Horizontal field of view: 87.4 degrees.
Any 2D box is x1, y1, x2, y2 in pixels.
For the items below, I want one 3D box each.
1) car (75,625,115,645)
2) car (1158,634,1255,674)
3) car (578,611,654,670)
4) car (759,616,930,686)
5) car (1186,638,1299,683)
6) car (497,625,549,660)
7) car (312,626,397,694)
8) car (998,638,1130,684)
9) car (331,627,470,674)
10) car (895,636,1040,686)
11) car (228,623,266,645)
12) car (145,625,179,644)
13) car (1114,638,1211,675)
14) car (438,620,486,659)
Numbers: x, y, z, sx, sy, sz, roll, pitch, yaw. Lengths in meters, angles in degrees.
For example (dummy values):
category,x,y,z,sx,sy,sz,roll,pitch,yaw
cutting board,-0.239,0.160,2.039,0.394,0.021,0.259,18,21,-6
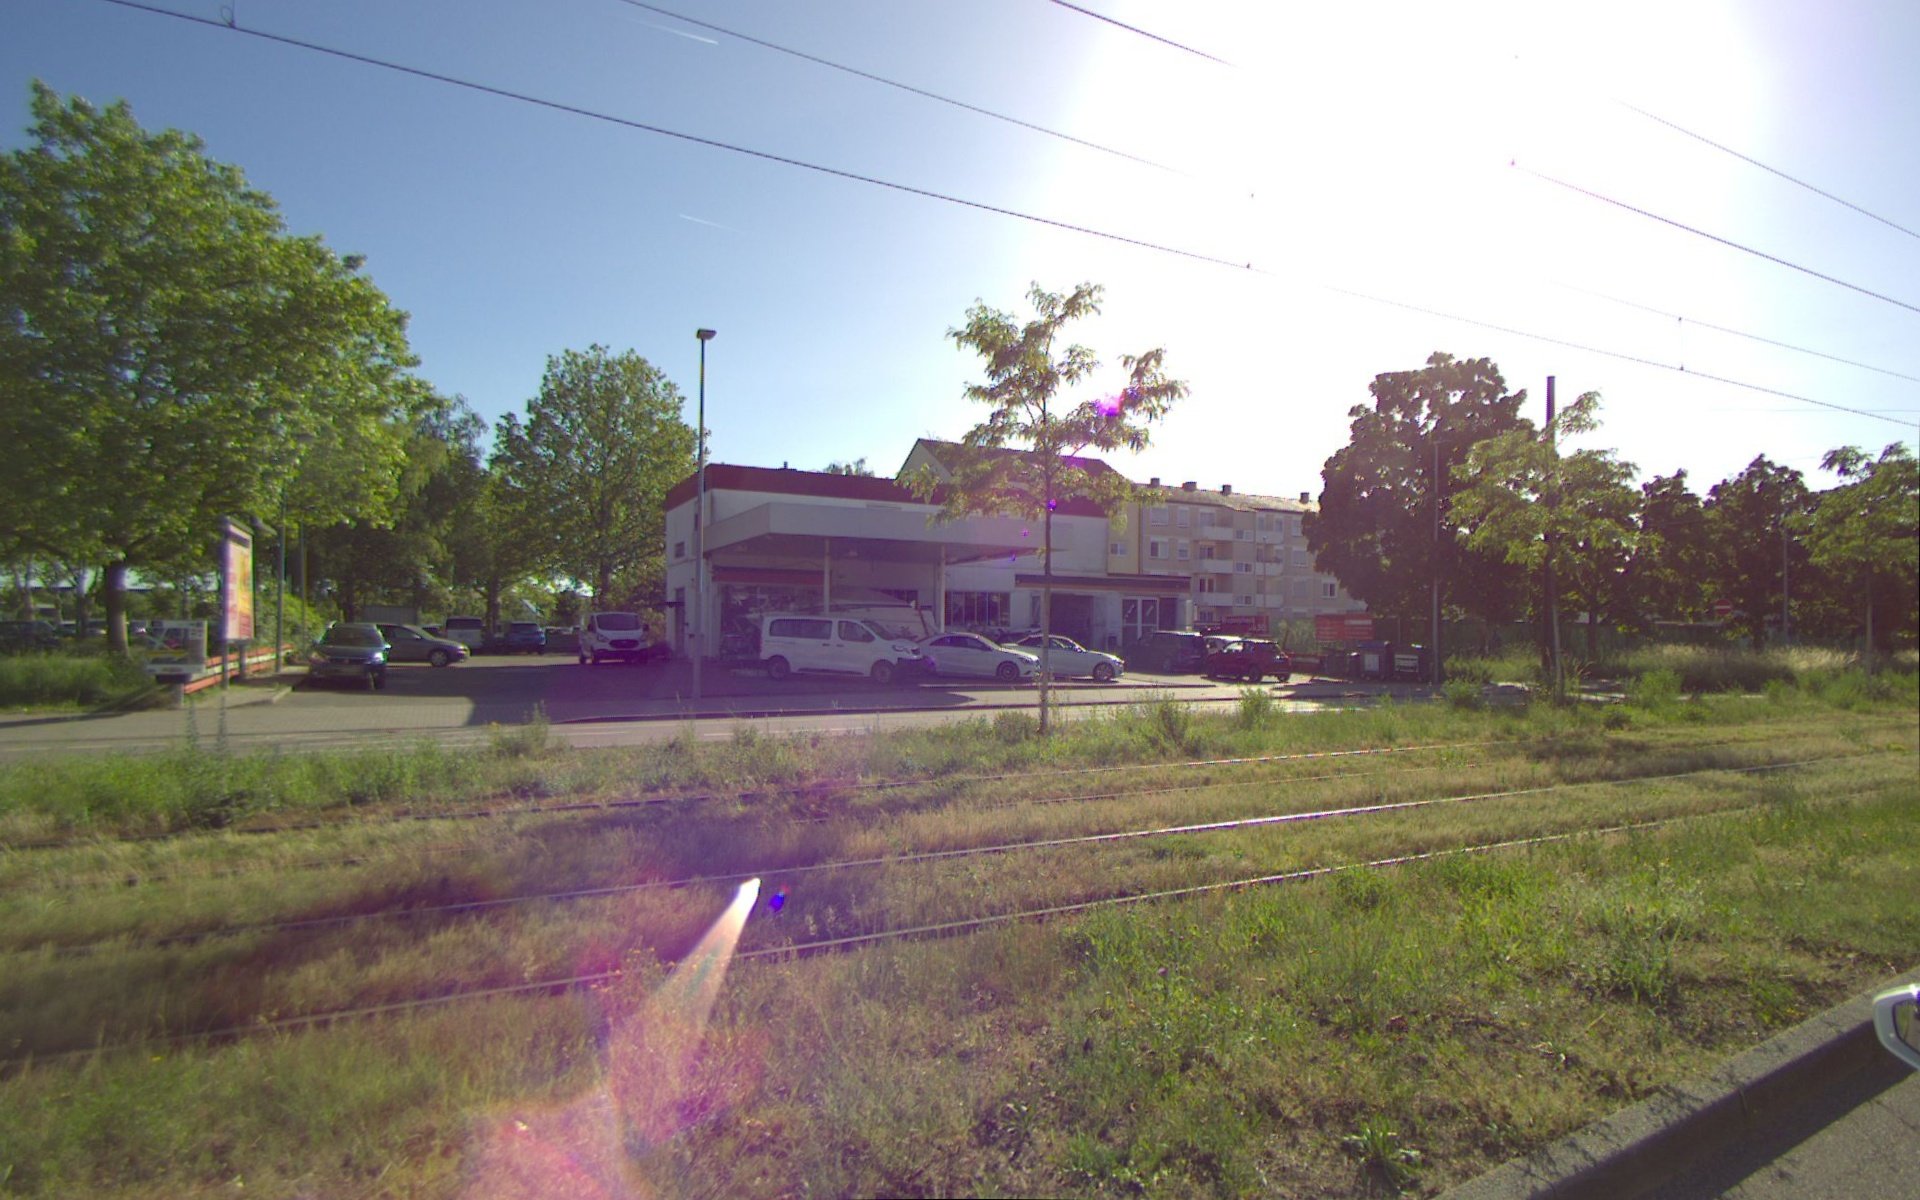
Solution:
category,x,y,z,sx,sy,sz,roll,pitch,yaw
car,-65.428,2.645,76.008,1.648,1.451,3.943,1,-2,-32
car,10.512,2.292,43.083,1.771,1.589,4.053,1,-2,-30
car,-13.258,1.558,38.501,1.996,2.119,4.702,1,-2,-29
car,-3.400,1.525,29.913,4.689,2.000,1.862,-1,-2,10
car,10.595,2.246,37.990,1.771,1.589,4.053,1,-2,-30
car,-21.688,2.075,49.751,1.884,1.652,4.056,1,-2,-30
car,-15.973,1.538,26.467,1.712,1.545,3.943,4,-2,-32
car,3.513,2.076,34.448,4.382,1.490,1.793,0,-2,2
car,-19.241,1.714,34.746,4.033,1.565,1.573,1,-2,-25
car,0.274,1.945,32.134,4.380,1.548,1.793,-1,-2,10
car,-47.710,2.272,67.299,1.827,1.451,3.943,1,-2,-32
car,-61.927,2.640,77.988,1.648,1.451,3.943,1,-2,-32
car,8.410,2.318,41.961,1.771,1.463,4.053,1,-2,-30
car,-25.213,1.982,50.791,1.884,1.884,4.056,1,-2,-30
